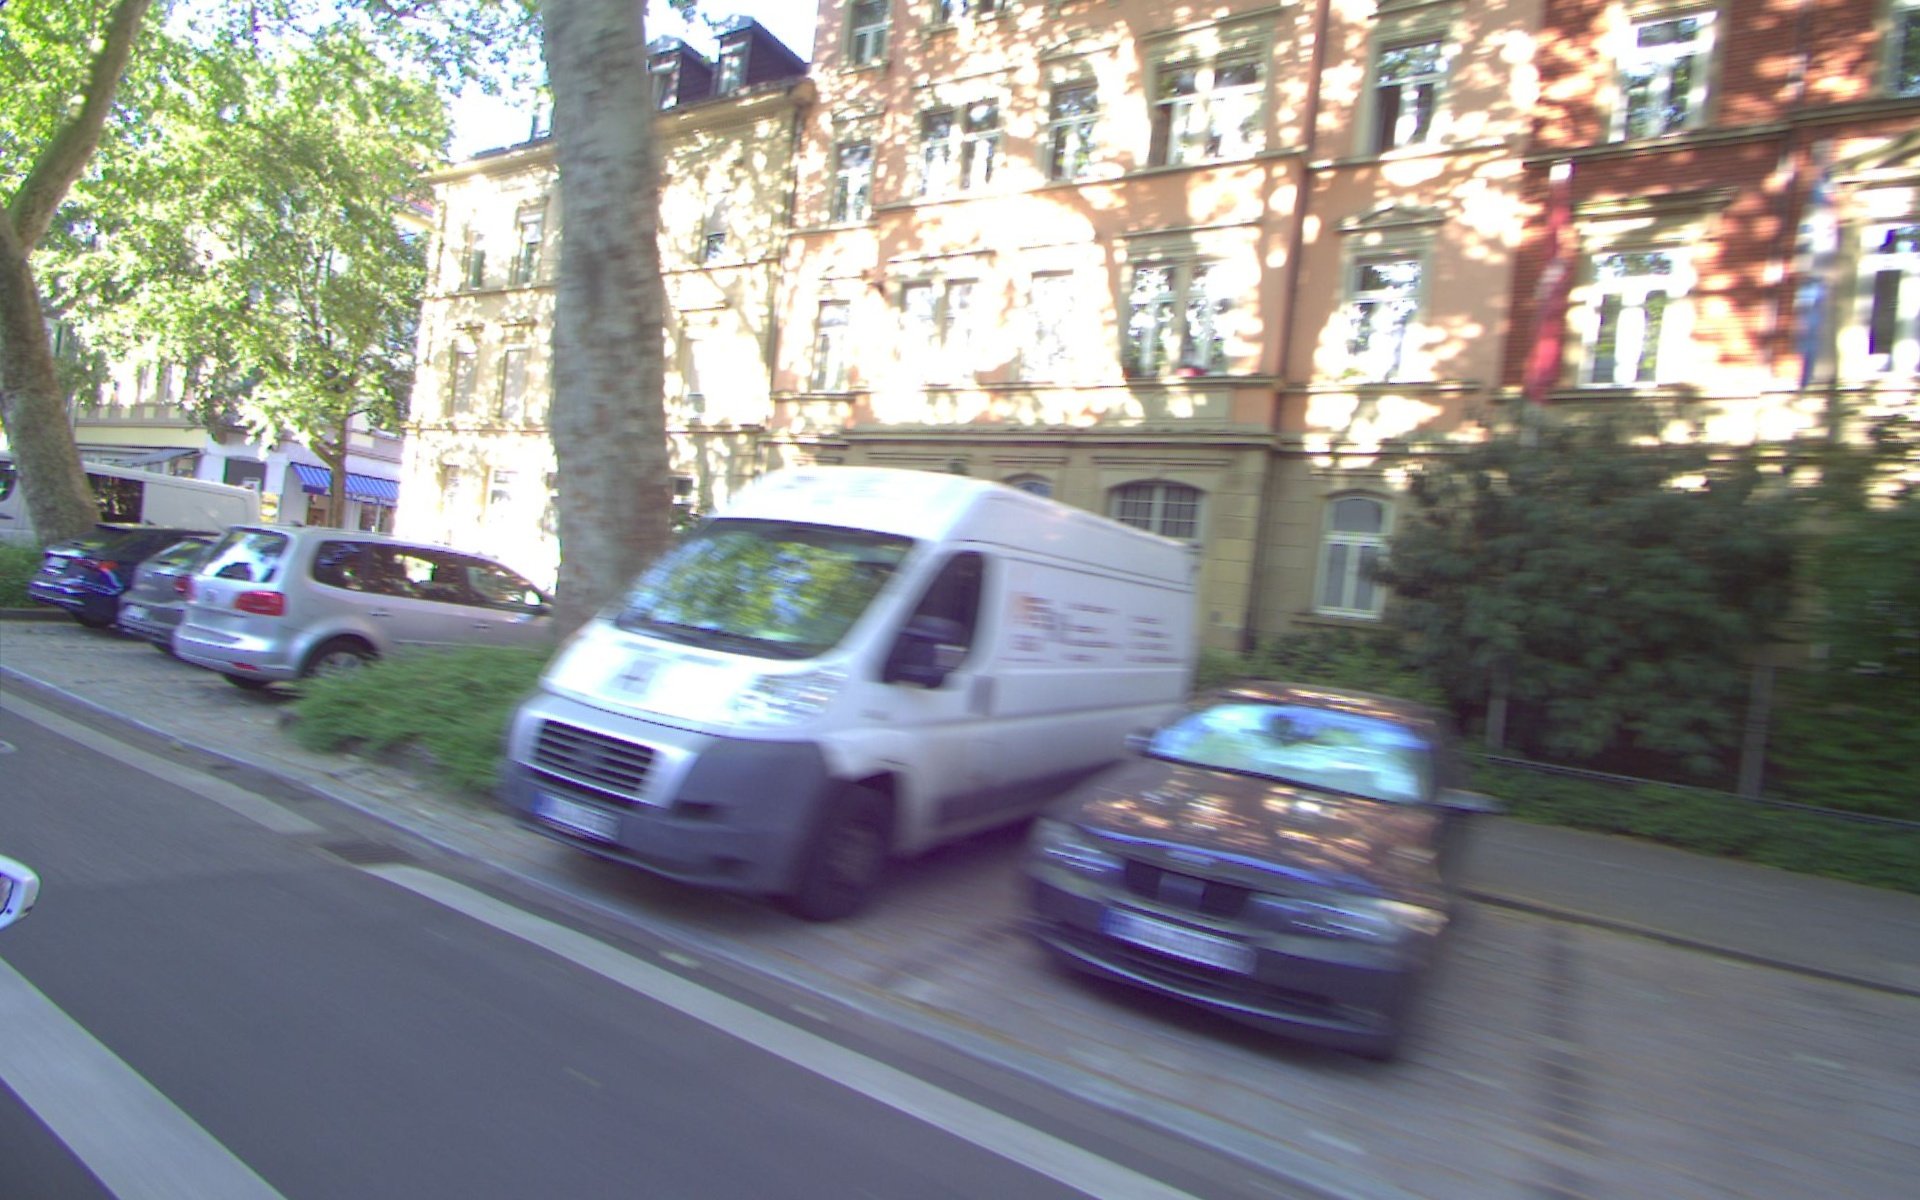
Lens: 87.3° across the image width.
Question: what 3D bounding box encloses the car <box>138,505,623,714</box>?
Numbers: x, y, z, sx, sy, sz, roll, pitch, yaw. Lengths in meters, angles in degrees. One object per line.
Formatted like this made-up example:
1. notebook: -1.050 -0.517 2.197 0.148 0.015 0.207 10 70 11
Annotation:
1. car: -5.767 0.192 10.556 1.765 1.675 3.963 6 -1 29

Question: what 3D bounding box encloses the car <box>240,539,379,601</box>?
1. car: -23.187 -1.034 35.998 1.663 1.635 3.683 9 0 31

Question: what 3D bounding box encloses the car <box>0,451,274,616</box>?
1. car: -15.470 -1.215 16.952 1.973 2.310 5.998 8 -1 33

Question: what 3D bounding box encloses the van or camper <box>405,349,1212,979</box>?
1. van or camper: -0.257 0.396 7.133 2.072 2.521 6.042 7 -1 31

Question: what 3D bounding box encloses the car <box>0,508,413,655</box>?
1. car: -10.015 -0.157 13.732 1.766 1.477 4.061 7 -1 30

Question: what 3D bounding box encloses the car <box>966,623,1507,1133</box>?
1. car: 1.971 1.139 5.787 1.753 1.570 4.395 6 -1 31

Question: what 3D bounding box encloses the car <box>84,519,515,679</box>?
1. car: -7.860 0.087 12.369 1.766 1.496 3.961 7 -1 31

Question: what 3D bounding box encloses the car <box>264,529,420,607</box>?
1. car: -15.723 -0.810 25.582 3.509 1.472 1.737 7 -2 29
